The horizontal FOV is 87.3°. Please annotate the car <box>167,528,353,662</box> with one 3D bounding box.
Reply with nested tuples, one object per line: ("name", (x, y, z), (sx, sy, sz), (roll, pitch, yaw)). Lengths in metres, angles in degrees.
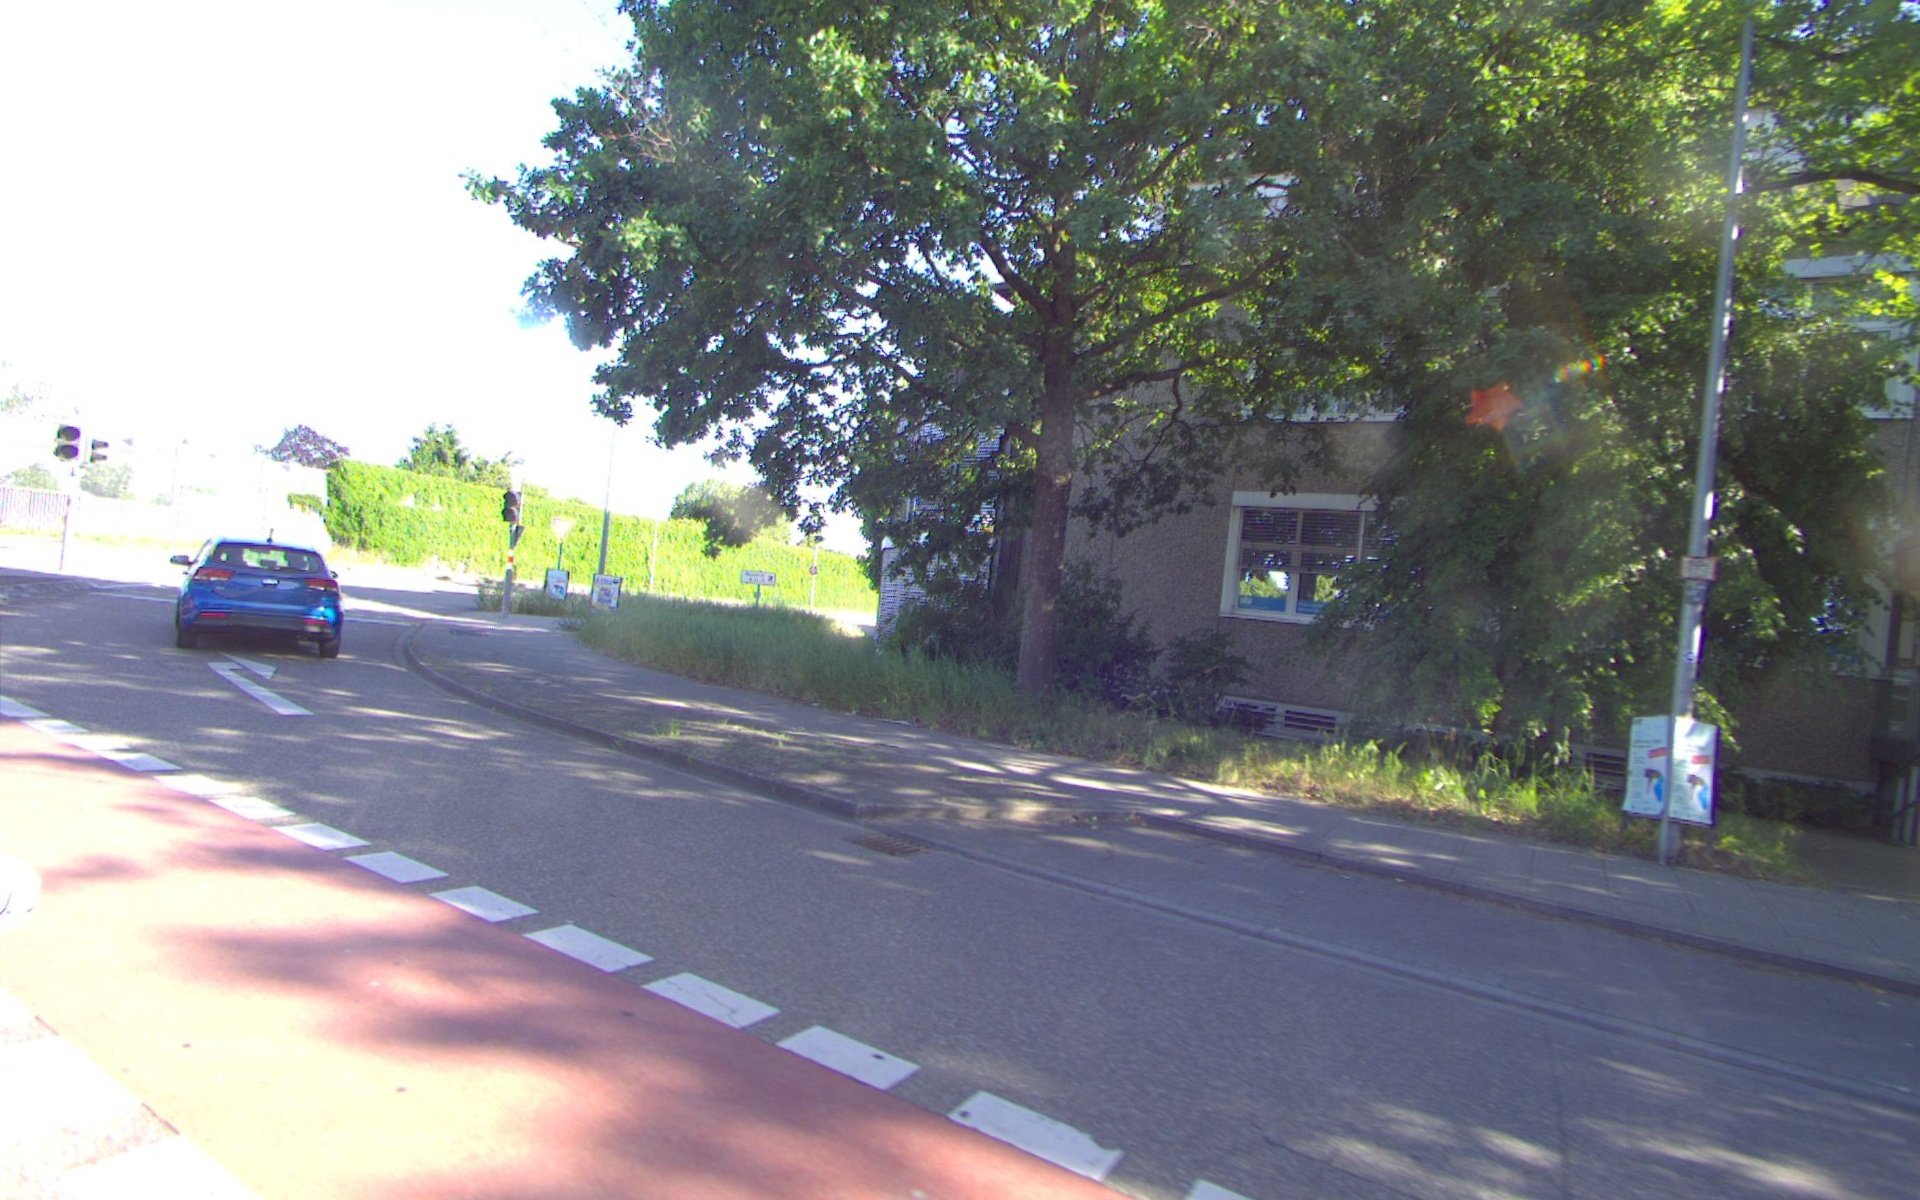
("car", (-9.641, -0.128, 13.739), (1.724, 1.458, 3.753), (7, -1, -39))
